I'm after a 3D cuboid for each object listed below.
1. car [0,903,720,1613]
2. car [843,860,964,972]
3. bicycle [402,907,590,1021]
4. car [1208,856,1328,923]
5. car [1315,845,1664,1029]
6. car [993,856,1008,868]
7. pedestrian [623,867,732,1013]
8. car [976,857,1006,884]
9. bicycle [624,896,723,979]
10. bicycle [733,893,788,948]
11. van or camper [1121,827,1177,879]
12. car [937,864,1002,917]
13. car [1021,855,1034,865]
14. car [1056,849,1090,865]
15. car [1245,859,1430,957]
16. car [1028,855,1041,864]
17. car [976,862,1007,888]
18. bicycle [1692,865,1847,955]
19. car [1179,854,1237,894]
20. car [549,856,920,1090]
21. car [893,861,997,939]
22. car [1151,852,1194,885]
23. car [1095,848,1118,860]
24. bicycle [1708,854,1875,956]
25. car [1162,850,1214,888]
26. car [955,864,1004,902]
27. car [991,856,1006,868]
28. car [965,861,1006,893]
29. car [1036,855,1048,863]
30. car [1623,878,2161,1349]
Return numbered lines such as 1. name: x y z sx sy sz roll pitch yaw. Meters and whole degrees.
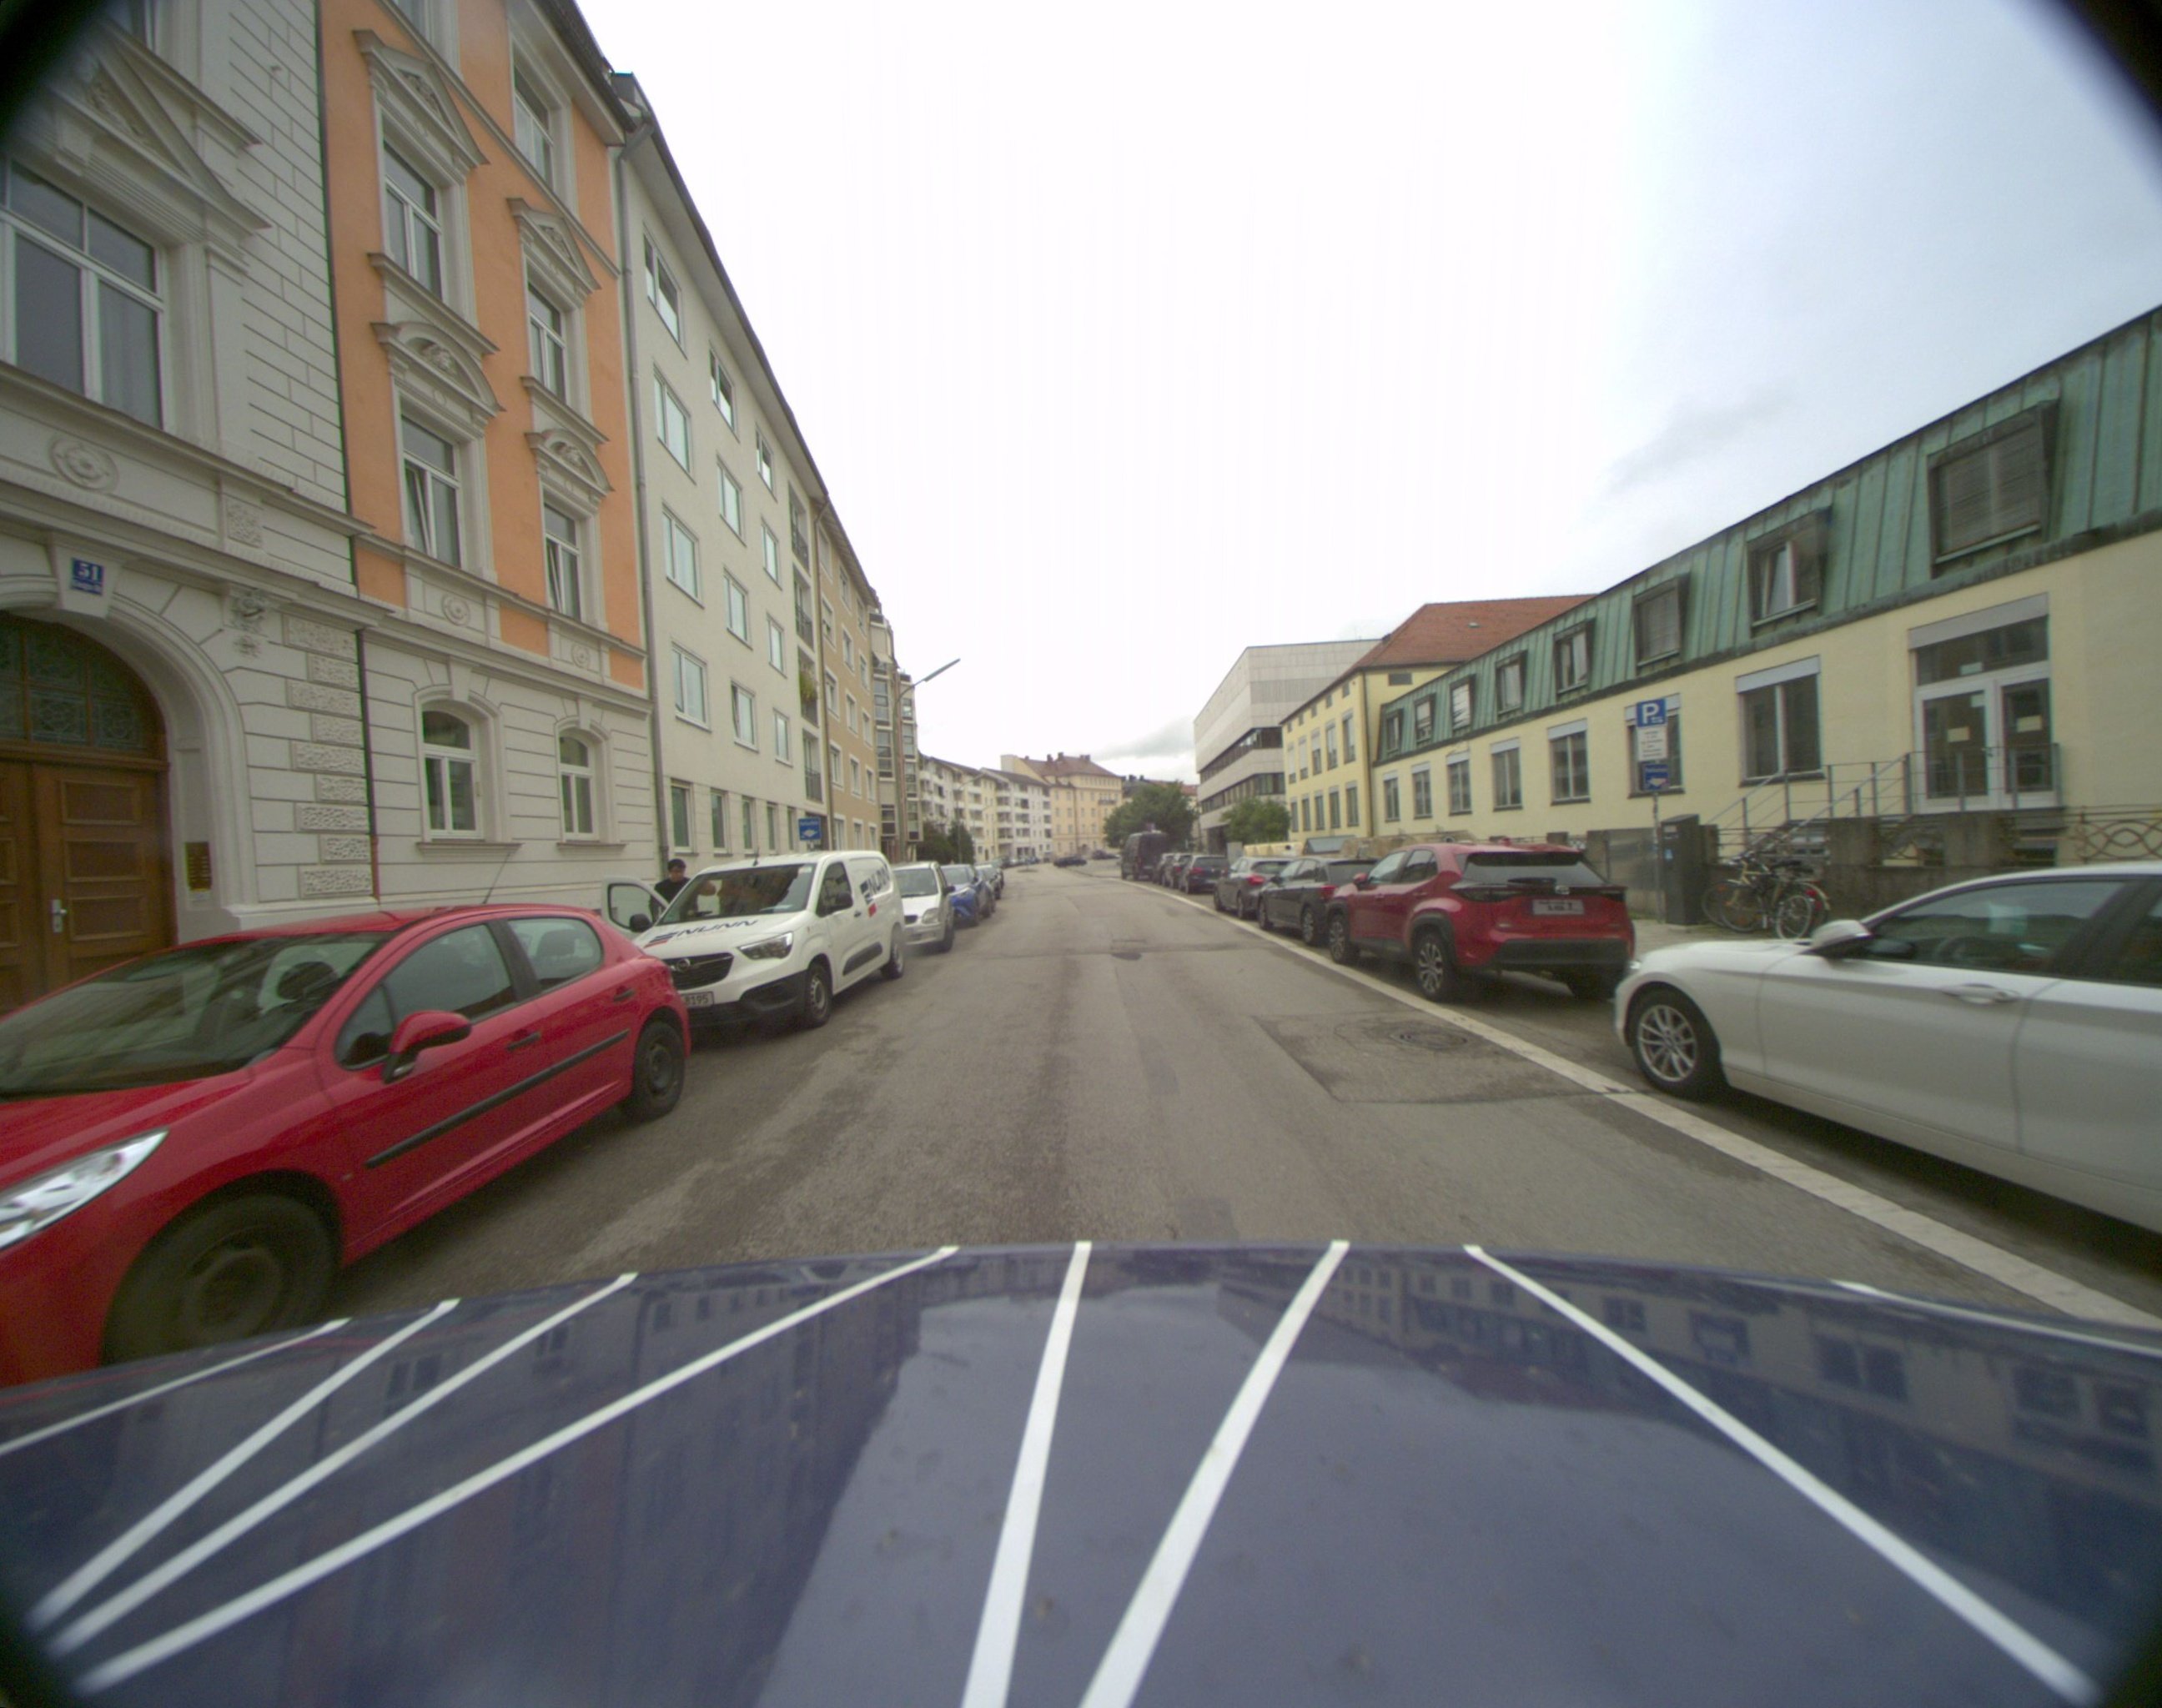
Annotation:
1. car: -3.484 1.167 3.406 1.603 1.443 4.300 -6 1 -1
2. car: -3.178 1.022 14.239 1.608 1.633 3.629 -5 1 -6
3. bicycle: -7.303 1.321 9.649 0.652 1.176 2.096 -2 -1 3
4. car: 4.332 0.759 18.273 1.798 1.397 4.127 0 0 -1
5. car: 4.112 0.699 8.493 1.679 1.557 3.996 0 0 -1
6. car: -11.207 1.100 105.881 1.757 1.445 3.567 -4 0 -9
7. pedestrian: -4.875 1.010 9.223 0.863 1.652 0.647 -3 1 1
8. car: -5.801 1.004 48.868 1.742 1.569 3.831 -3 0 -7
9. bicycle: -6.775 1.352 12.754 0.669 1.115 1.954 -4 1 -5
10. bicycle: -7.645 1.557 18.182 0.669 1.115 1.651 -4 1 -5
11. van or camper: 3.894 -0.046 44.654 2.142 2.791 5.569 -2 0 -6
12. car: -3.535 1.121 24.685 1.746 1.388 4.199 -5 0 -5
13. car: -9.180 1.020 130.399 1.756 1.445 3.570 -4 0 3
14. car: -1.093 0.396 100.150 4.248 1.849 1.999 -3 1 -4
15. car: 4.229 0.804 13.231 1.679 1.397 3.989 0 0 -3
16. car: -8.331 0.991 136.514 1.756 1.445 3.570 -4 0 3
17. car: -5.226 1.189 44.258 1.742 1.332 4.162 -1 0 -7
18. bicycle: 8.797 0.676 9.809 0.456 0.989 1.741 -5 0 4
19. car: 4.756 0.704 28.883 1.699 1.397 4.001 0 0 3
20. car: -3.456 1.021 8.891 1.845 1.775 4.895 -6 0 1
21. car: -3.319 1.060 19.385 1.745 1.578 4.200 -5 0 0
22. car: 4.549 0.680 38.270 1.642 1.553 3.838 0 0 -1
23. car: 4.585 -0.027 136.283 3.996 1.849 2.000 -3 1 2
24. bicycle: 9.246 0.612 10.001 0.424 1.165 1.938 -5 0 4
25. car: 4.674 0.623 33.719 1.700 1.553 3.867 0 0 -1
26. car: -4.371 1.192 33.257 1.896 1.388 4.488 -3 1 -5
27. car: -10.983 1.078 101.410 1.757 1.445 3.567 -3 0 -9
28. car: -4.889 1.132 39.424 1.896 1.454 4.488 -2 0 -5
29. car: -7.356 0.933 142.572 1.756 1.445 3.570 -4 0 3
30. car: 4.231 0.854 2.751 1.679 1.390 3.996 0 0 0
